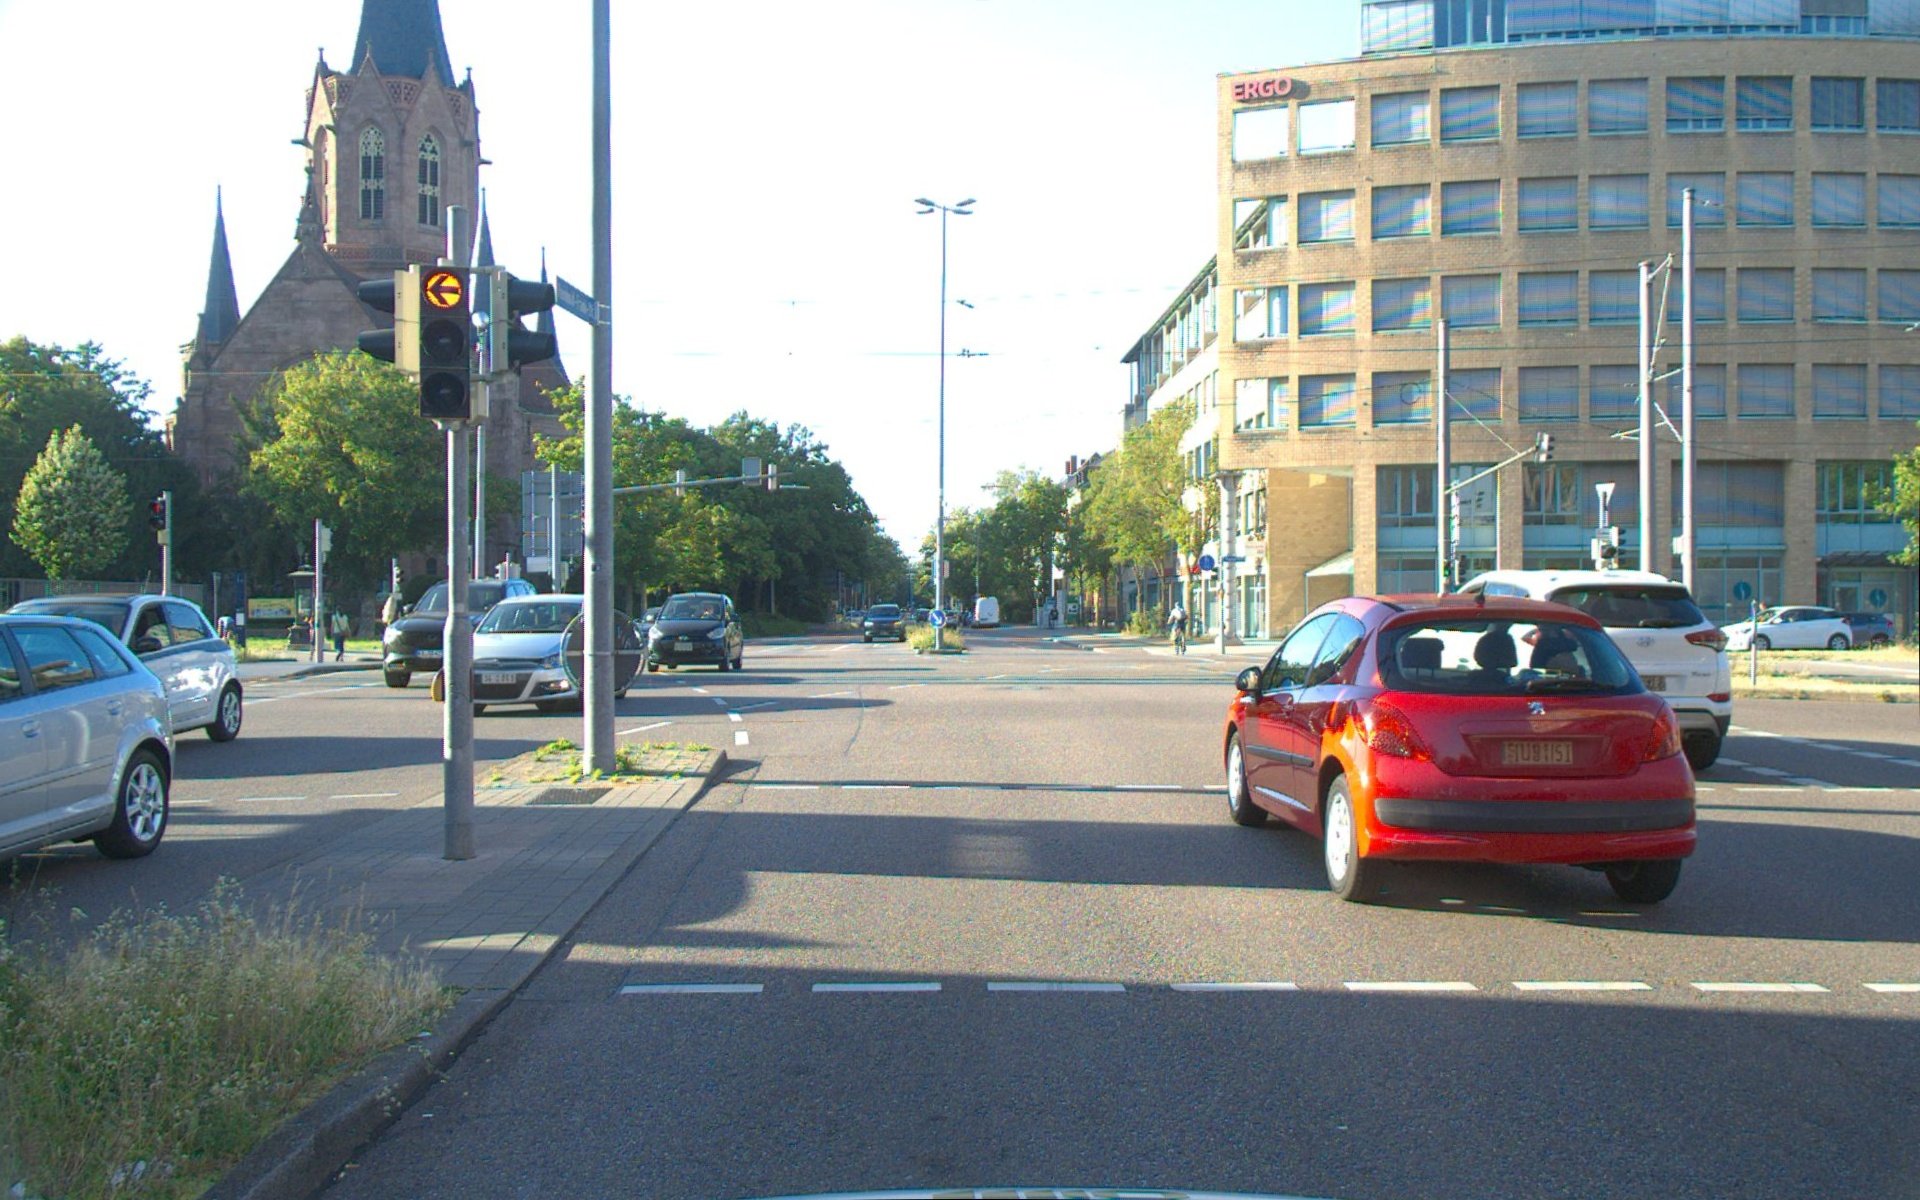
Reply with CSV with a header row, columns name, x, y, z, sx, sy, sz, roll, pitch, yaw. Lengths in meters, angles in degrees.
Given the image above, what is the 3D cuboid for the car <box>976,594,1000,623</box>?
name,x,y,z,sx,sy,sz,roll,pitch,yaw
car,2.394,0.766,144.570,1.953,2.483,3.999,1,0,-1

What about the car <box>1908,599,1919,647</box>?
name,x,y,z,sx,sy,sz,roll,pitch,yaw
car,32.413,0.729,52.195,3.970,1.518,1.819,0,-1,-2

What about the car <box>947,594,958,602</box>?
name,x,y,z,sx,sy,sz,roll,pitch,yaw
car,-1.143,-0.270,254.977,1.562,1.289,3.266,0,0,-1

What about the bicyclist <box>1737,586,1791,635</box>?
name,x,y,z,sx,sy,sz,roll,pitch,yaw
bicyclist,26.443,0.337,54.430,1.198,1.599,1.153,0,0,-3

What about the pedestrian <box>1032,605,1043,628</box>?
name,x,y,z,sx,sy,sz,roll,pitch,yaw
pedestrian,6.151,1.298,130.828,0.830,1.835,0.775,0,0,-1

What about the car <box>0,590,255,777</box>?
name,x,y,z,sx,sy,sz,roll,pitch,yaw
car,-8.404,0.721,15.967,1.641,1.571,3.637,-2,0,-1

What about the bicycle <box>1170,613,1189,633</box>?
name,x,y,z,sx,sy,sz,roll,pitch,yaw
bicycle,11.277,1.158,85.023,0.633,1.012,2.080,0,0,-2

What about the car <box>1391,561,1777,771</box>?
name,x,y,z,sx,sy,sz,roll,pitch,yaw
car,5.508,0.533,15.248,1.877,1.635,4.268,1,0,-1

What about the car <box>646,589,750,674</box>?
name,x,y,z,sx,sy,sz,roll,pitch,yaw
car,-5.220,0.586,33.278,1.546,1.571,3.476,-2,0,-1

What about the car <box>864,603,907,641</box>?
name,x,y,z,sx,sy,sz,roll,pitch,yaw
car,-3.524,1.059,79.279,1.953,1.754,5.029,-1,-1,-2

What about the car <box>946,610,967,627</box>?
name,x,y,z,sx,sy,sz,roll,pitch,yaw
car,-0.288,1.403,127.327,1.562,1.289,3.266,0,0,-1

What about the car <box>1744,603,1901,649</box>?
name,x,y,z,sx,sy,sz,roll,pitch,yaw
car,29.745,0.890,57.129,4.390,1.564,1.986,0,-1,-1

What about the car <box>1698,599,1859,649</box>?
name,x,y,z,sx,sy,sz,roll,pitch,yaw
car,25.653,0.752,51.938,4.080,1.518,1.994,0,-1,-3

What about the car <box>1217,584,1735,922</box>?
name,x,y,z,sx,sy,sz,roll,pitch,yaw
car,2.625,0.696,9.412,1.636,1.488,3.999,1,0,-1

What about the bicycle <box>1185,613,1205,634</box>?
name,x,y,z,sx,sy,sz,roll,pitch,yaw
bicycle,11.390,1.137,80.283,0.633,1.012,2.080,0,0,-2

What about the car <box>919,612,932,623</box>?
name,x,y,z,sx,sy,sz,roll,pitch,yaw
car,-4.245,2.204,204.967,1.562,1.289,3.266,0,0,-1

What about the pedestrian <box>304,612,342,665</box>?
name,x,y,z,sx,sy,sz,roll,pitch,yaw
pedestrian,-21.309,1.287,55.357,0.838,1.726,1.000,1,-1,-44

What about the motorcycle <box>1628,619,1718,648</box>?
name,x,y,z,sx,sy,sz,roll,pitch,yaw
motorcycle,24.524,1.138,56.944,2.663,0.981,1.031,0,-1,-2

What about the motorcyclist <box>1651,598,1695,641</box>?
name,x,y,z,sx,sy,sz,roll,pitch,yaw
motorcyclist,24.537,0.664,56.951,1.044,1.460,1.031,0,-1,-2

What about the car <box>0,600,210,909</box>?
name,x,y,z,sx,sy,sz,roll,pitch,yaw
car,-5.439,0.769,8.151,1.674,1.450,4.101,-2,0,-2

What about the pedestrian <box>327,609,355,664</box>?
name,x,y,z,sx,sy,sz,roll,pitch,yaw
pedestrian,-19.827,1.172,52.951,0.700,1.726,0.887,1,-1,-29

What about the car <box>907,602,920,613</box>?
name,x,y,z,sx,sy,sz,roll,pitch,yaw
car,-7.073,1.124,250.985,1.848,1.700,3.999,1,0,-1

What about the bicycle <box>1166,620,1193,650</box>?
name,x,y,z,sx,sy,sz,roll,pitch,yaw
bicycle,7.309,1.162,55.153,0.580,0.959,1.977,1,-1,-1

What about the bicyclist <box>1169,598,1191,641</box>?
name,x,y,z,sx,sy,sz,roll,pitch,yaw
bicyclist,7.308,0.641,54.958,0.580,1.393,0.929,1,-1,-1

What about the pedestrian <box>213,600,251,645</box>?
name,x,y,z,sx,sy,sz,roll,pitch,yaw
pedestrian,-27.822,0.858,63.232,0.992,1.726,0.845,1,-1,18

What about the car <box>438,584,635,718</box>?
name,x,y,z,sx,sy,sz,roll,pitch,yaw
car,-5.494,0.599,21.895,1.641,1.571,3.805,-2,0,-1

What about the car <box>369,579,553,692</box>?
name,x,y,z,sx,sy,sz,roll,pitch,yaw
car,-8.517,0.537,28.677,1.779,1.740,4.785,-2,0,-1

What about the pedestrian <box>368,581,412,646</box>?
name,x,y,z,sx,sy,sz,roll,pitch,yaw
pedestrian,-15.630,0.360,45.400,0.945,1.770,0.811,0,-1,-3

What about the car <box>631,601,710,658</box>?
name,x,y,z,sx,sy,sz,roll,pitch,yaw
car,-8.862,0.872,50.920,1.758,1.593,4.146,-1,1,-2
